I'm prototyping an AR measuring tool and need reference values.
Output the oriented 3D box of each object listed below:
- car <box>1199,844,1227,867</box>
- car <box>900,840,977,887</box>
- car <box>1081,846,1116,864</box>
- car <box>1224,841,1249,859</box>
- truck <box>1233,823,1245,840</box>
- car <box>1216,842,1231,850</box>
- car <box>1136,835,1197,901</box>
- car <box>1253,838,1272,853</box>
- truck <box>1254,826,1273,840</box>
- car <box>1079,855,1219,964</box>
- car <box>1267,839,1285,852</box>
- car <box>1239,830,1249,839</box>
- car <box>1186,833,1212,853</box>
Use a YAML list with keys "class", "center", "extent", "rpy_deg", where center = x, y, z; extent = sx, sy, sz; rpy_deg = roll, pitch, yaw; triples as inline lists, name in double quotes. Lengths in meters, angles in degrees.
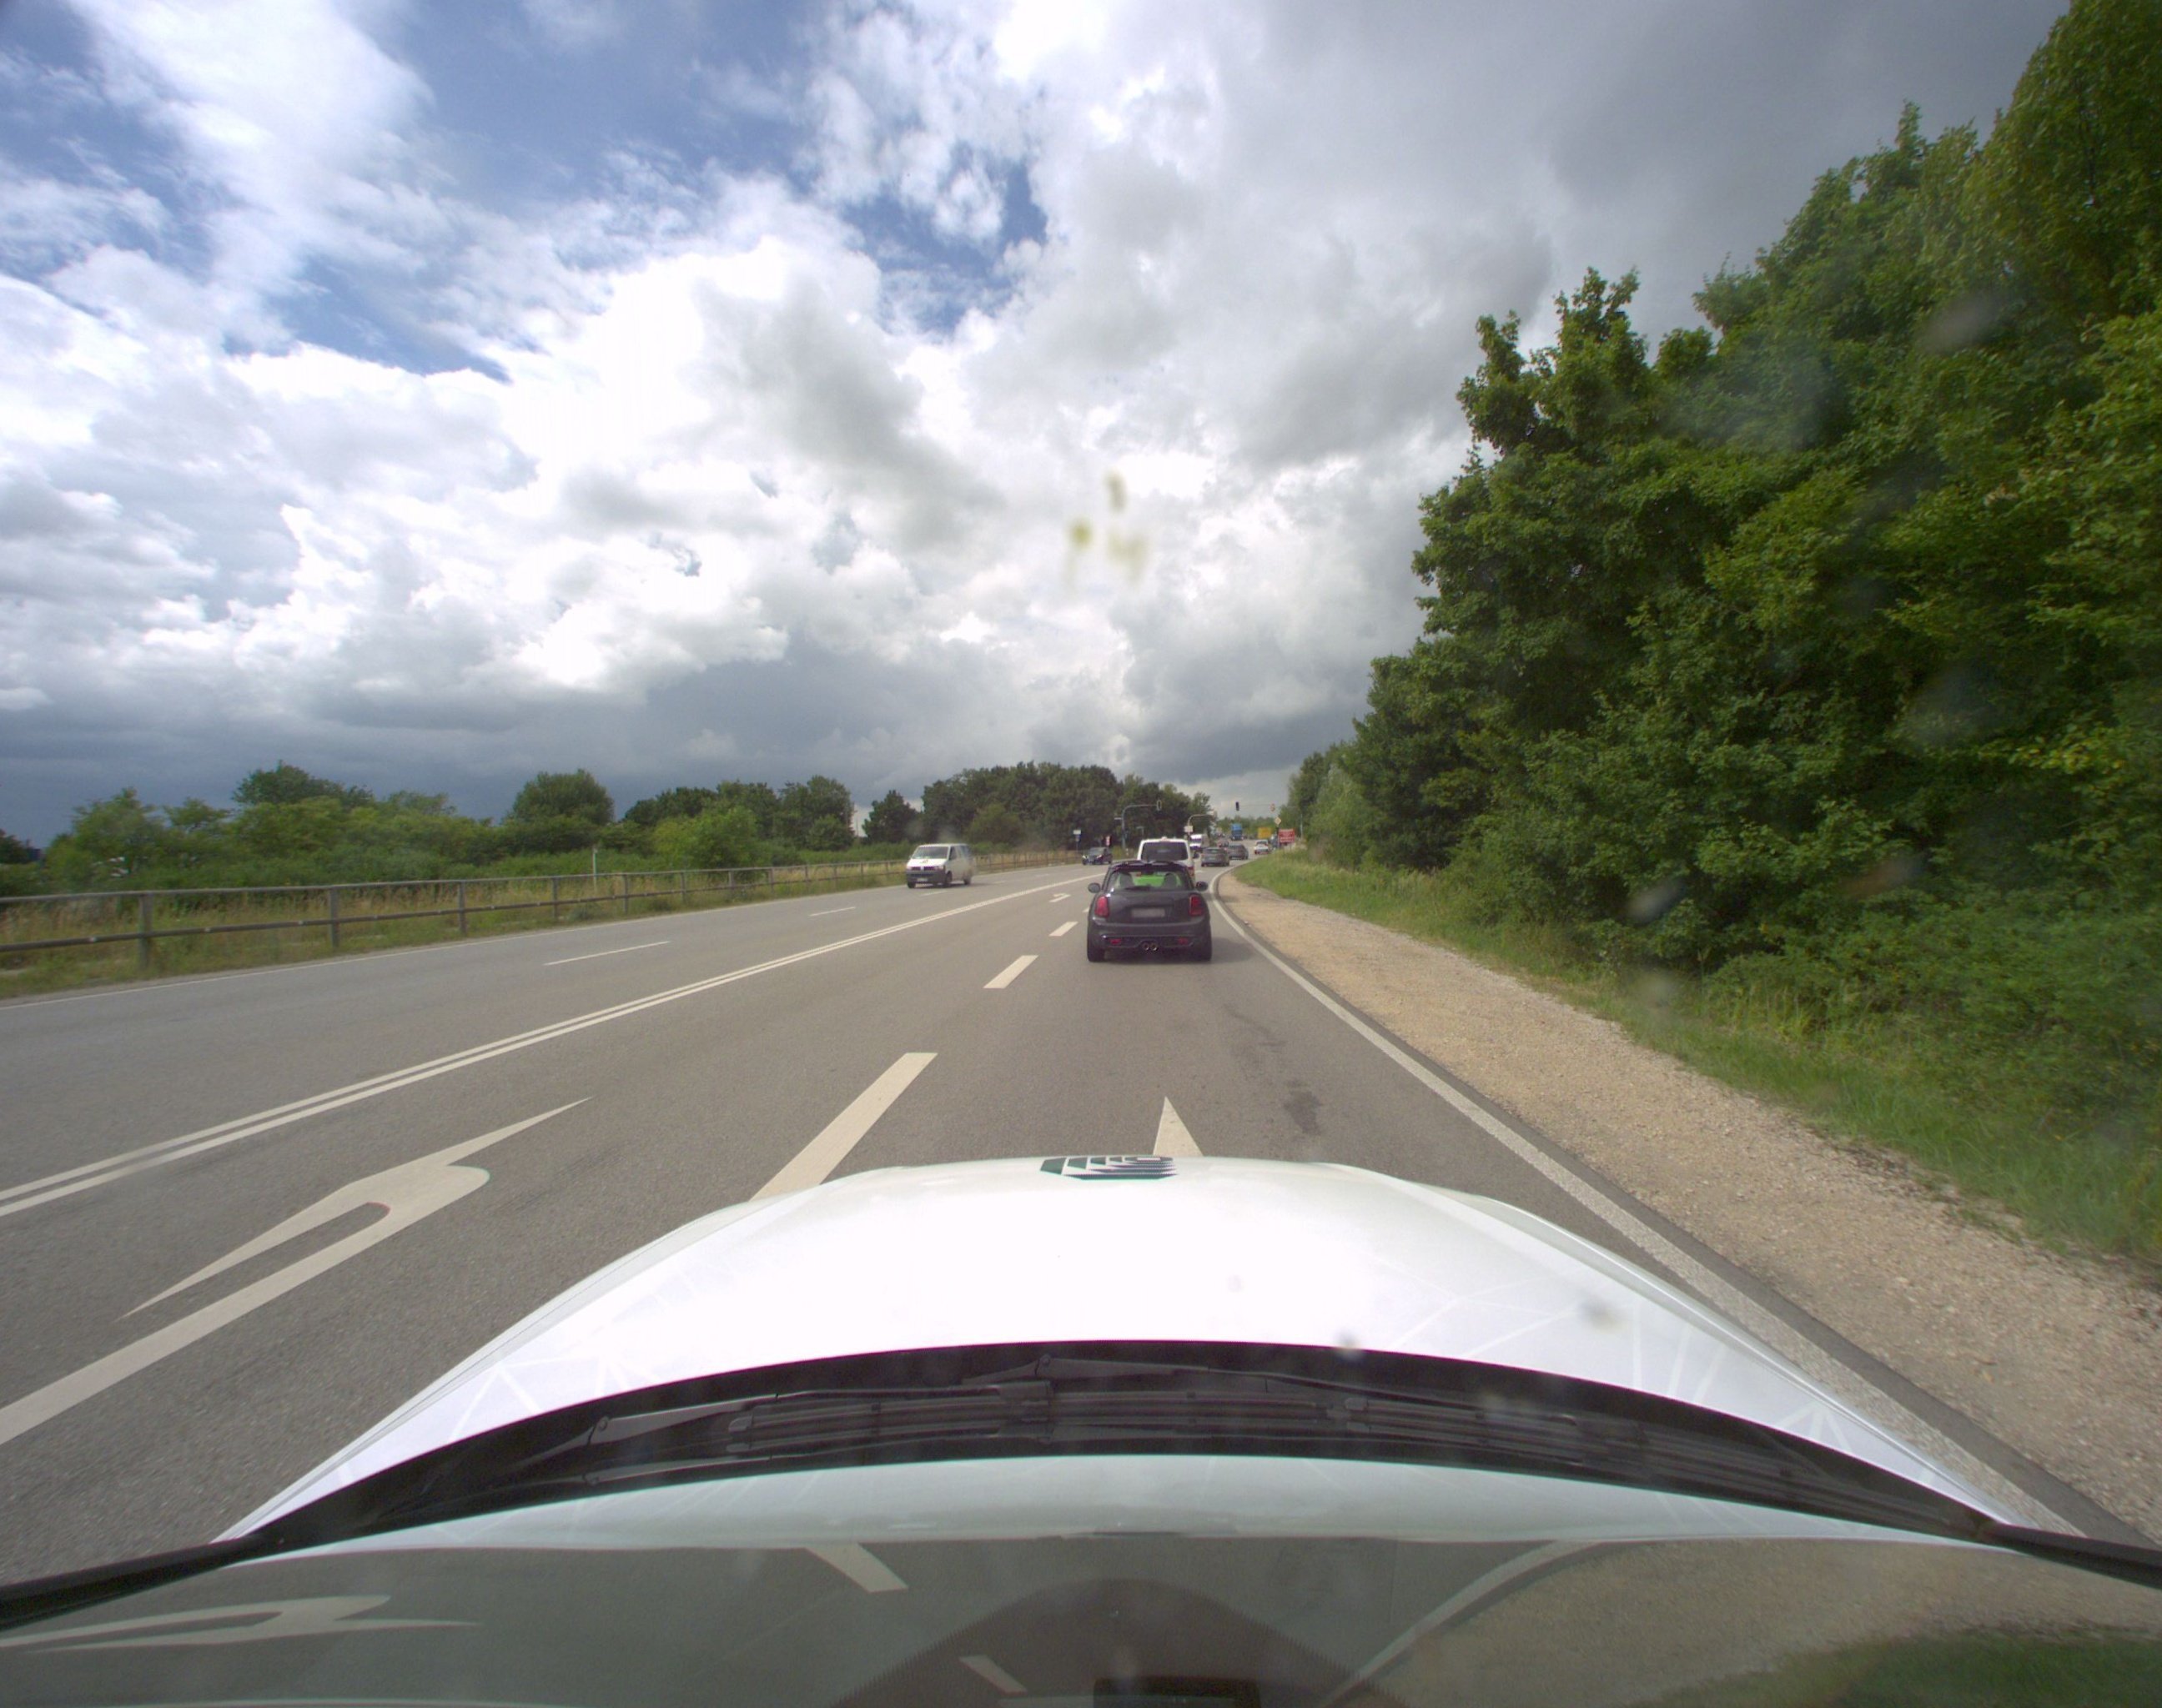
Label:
- class: "car"
  center: [9.945, 0.122, 61.153]
  extent: [1.981, 1.684, 4.011]
  rpy_deg: [0, -1, 10]
- class: "car"
  center: [-6.429, 0.394, 37.230]
  extent: [1.982, 2.013, 4.679]
  rpy_deg: [-1, 0, 9]
- class: "car"
  center: [1.576, 0.077, 71.020]
  extent: [1.794, 1.441, 4.374]
  rpy_deg: [-1, 0, 18]
- class: "car"
  center: [15.024, -0.340, 78.509]
  extent: [1.978, 1.684, 3.995]
  rpy_deg: [0, -1, 17]
- class: "truck"
  center: [37.755, -5.404, 194.932]
  extent: [2.522, 4.096, 4.015]
  rpy_deg: [-1, 1, 13]
- class: "car"
  center: [26.438, -1.468, 150.847]
  extent: [1.929, 1.441, 4.022]
  rpy_deg: [-1, 0, 22]
- class: "car"
  center: [2.797, 0.405, 26.660]
  extent: [1.835, 1.987, 3.847]
  rpy_deg: [-1, 0, 6]
- class: "car"
  center: [21.159, -0.946, 95.037]
  extent: [1.979, 1.684, 4.016]
  rpy_deg: [0, -1, 15]
- class: "truck"
  center: [41.410, -4.715, 184.931]
  extent: [2.706, 2.897, 8.777]
  rpy_deg: [-1, 0, 3]
- class: "car"
  center: [1.087, 0.744, 12.728]
  extent: [1.836, 1.428, 3.847]
  rpy_deg: [-1, 0, 6]
- class: "car"
  center: [26.772, -1.107, 111.820]
  extent: [1.977, 1.684, 4.019]
  rpy_deg: [0, -1, 20]
- class: "car"
  center: [43.506, -5.204, 217.377]
  extent: [2.169, 2.014, 4.007]
  rpy_deg: [-1, -1, 7]
- class: "car"
  center: [16.635, -1.504, 114.690]
  extent: [2.414, 2.674, 6.921]
  rpy_deg: [-1, 0, 18]
